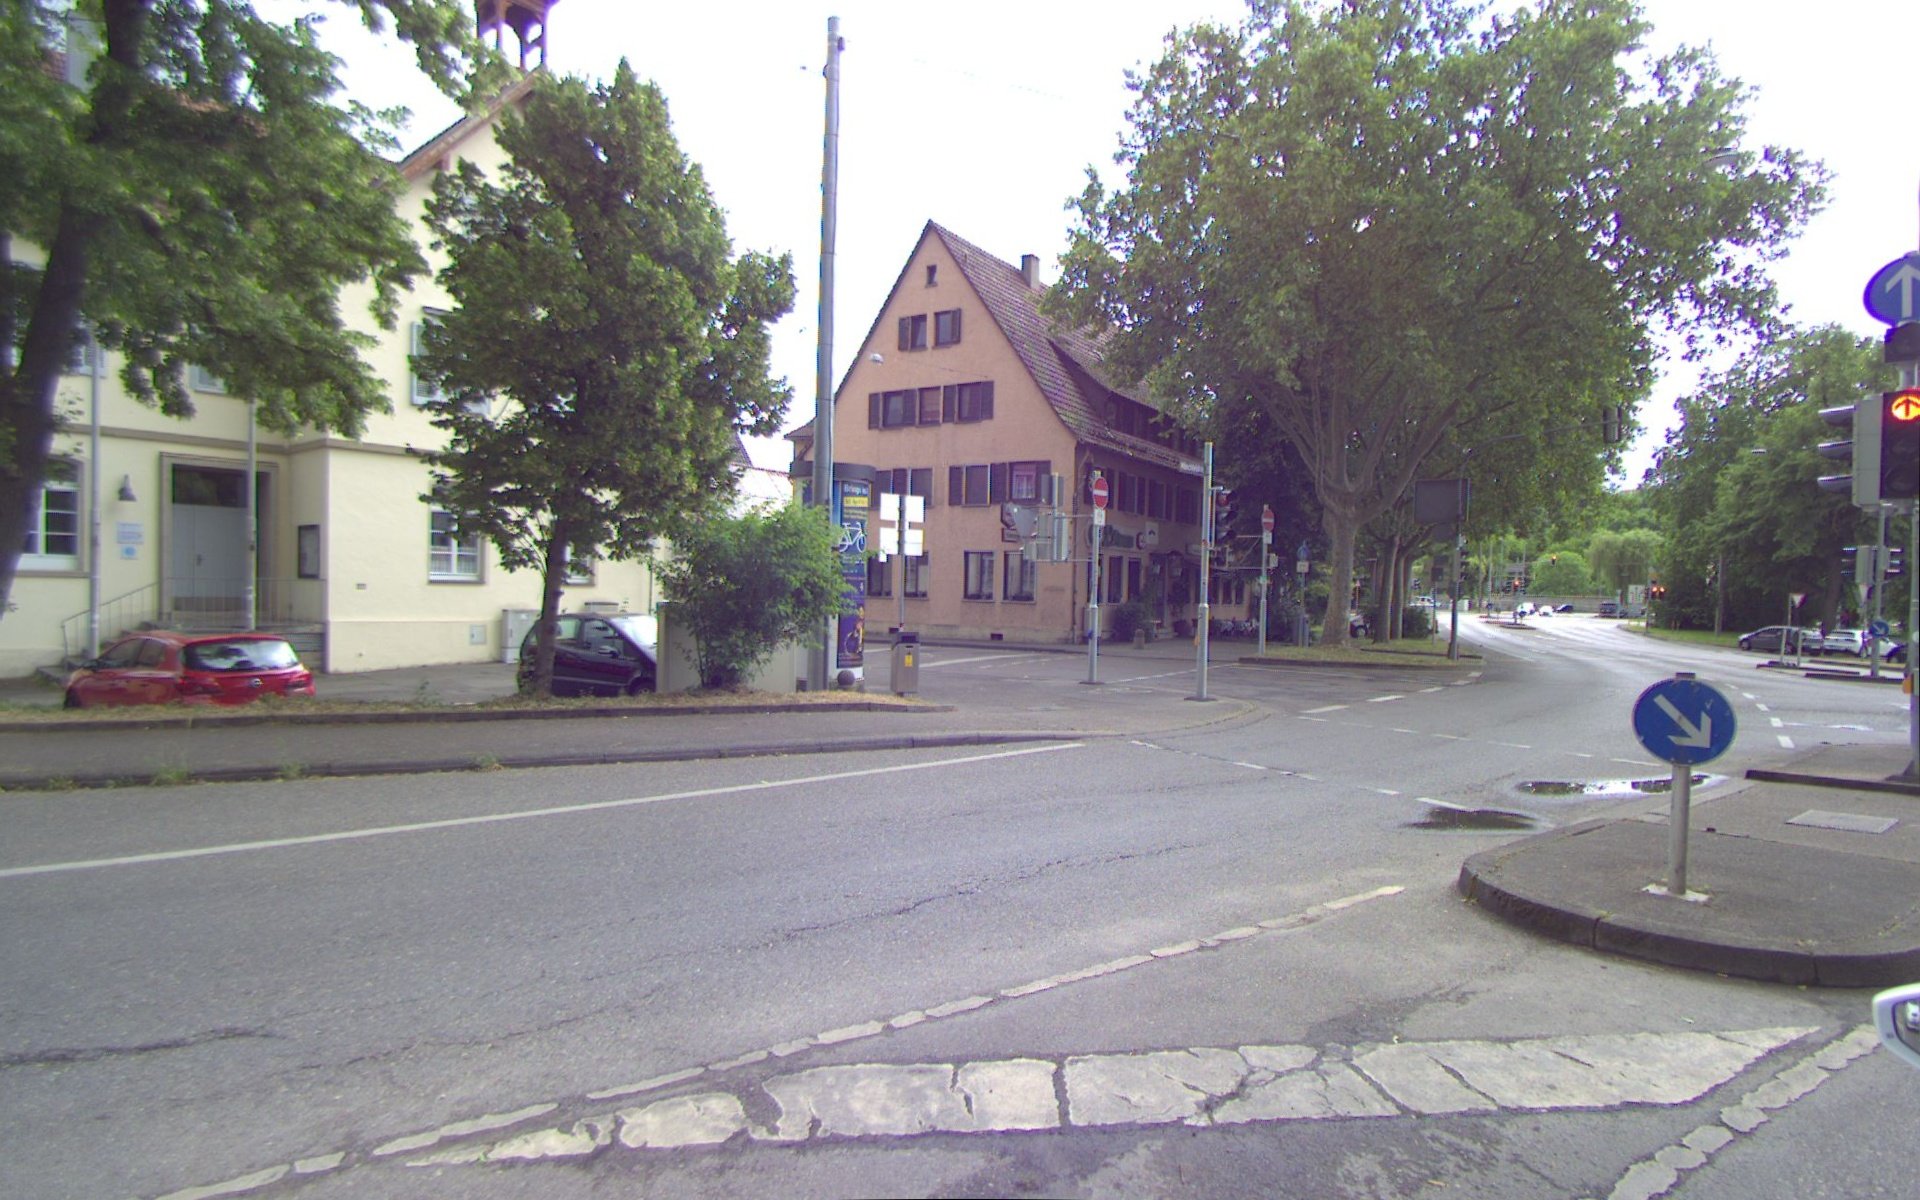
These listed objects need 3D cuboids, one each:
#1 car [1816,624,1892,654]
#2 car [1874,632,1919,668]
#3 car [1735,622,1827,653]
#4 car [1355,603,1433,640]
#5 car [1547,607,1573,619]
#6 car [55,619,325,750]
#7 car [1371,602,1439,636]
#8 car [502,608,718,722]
[{"bbox_3d":[47.298,2.077,53.162,3.342,1.484,1.543,2,0,-19],"label":"car"},{"bbox_3d":[39.566,2.074,40.946,1.442,1.412,3.596,2,0,3],"label":"car"},{"bbox_3d":[43.860,1.964,53.762,1.559,1.484,3.543,2,0,-17],"label":"car"},{"bbox_3d":[21.405,1.044,49.584,3.387,1.663,1.570,2,0,28],"label":"car"},{"bbox_3d":[108.223,2.304,181.093,3.928,2.040,1.996,2,0,30],"label":"car"},{"bbox_3d":[-10.178,1.012,13.246,3.492,1.397,1.605,2,0,30],"label":"car"},{"bbox_3d":[25.466,1.082,57.468,3.387,1.765,1.570,2,0,28],"label":"car"},{"bbox_3d":[-5.767,1.005,16.594,3.035,1.654,1.607,2,0,22],"label":"car"}]
